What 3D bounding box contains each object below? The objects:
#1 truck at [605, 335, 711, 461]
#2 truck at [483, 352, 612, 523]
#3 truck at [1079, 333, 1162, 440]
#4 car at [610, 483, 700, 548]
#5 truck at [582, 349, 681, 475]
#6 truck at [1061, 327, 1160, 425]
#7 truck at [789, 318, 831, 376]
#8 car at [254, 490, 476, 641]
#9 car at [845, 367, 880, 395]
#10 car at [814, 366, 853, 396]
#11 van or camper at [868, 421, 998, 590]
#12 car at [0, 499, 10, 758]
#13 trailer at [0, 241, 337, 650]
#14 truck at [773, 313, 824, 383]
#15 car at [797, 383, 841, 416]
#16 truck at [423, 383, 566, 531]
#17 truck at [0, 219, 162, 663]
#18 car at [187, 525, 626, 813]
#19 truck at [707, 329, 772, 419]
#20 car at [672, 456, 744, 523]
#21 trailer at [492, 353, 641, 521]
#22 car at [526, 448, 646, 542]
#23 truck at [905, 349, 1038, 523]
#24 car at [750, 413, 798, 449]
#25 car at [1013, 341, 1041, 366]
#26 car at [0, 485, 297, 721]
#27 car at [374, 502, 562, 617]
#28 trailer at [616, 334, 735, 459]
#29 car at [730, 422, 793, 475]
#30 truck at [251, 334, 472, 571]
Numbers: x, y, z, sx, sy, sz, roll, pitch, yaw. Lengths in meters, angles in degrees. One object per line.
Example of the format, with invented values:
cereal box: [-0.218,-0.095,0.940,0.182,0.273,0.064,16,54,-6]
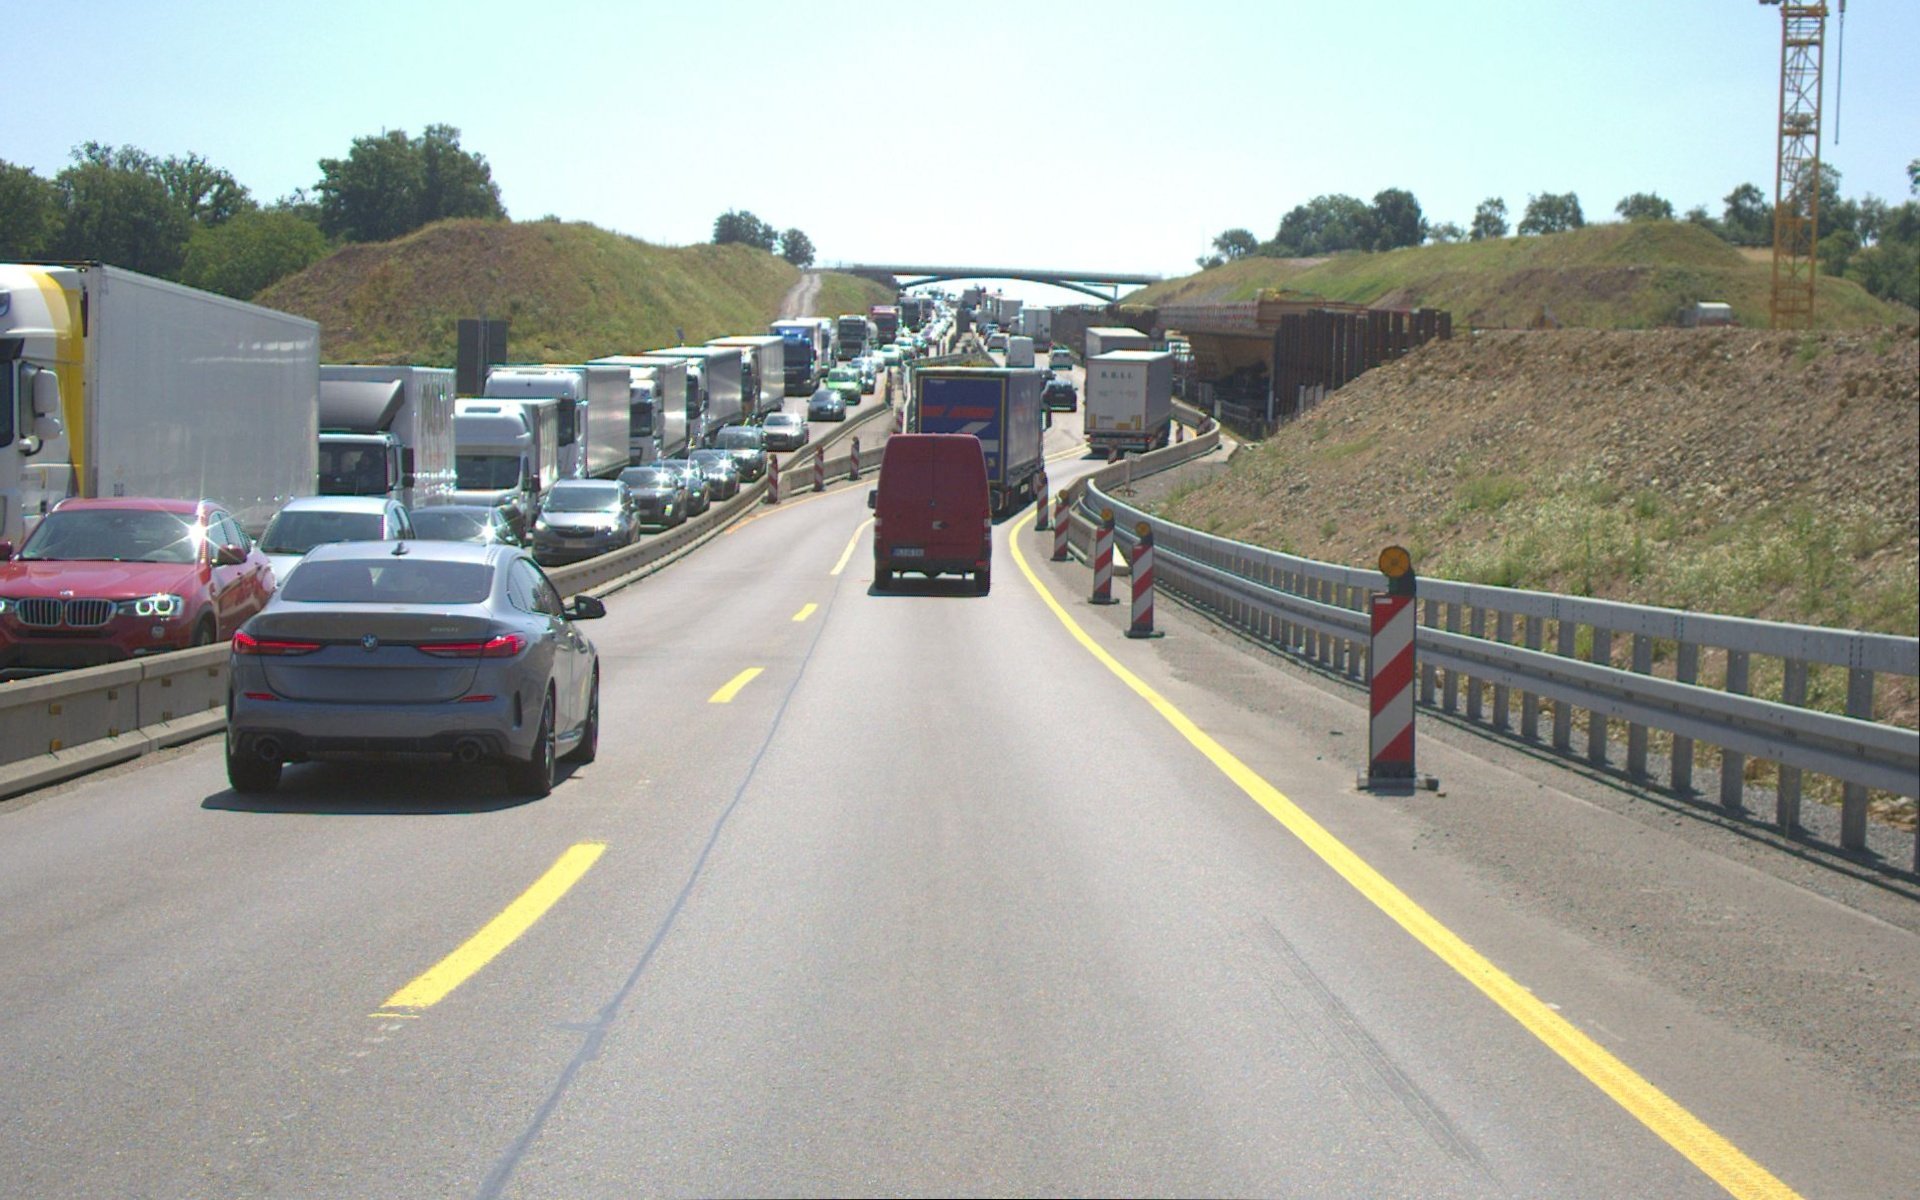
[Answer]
truck: [-11.064,-7.460,126.435,3.052,4.464,5.981,1,4,3]
truck: [-10.604,-4.211,88.929,2.551,4.216,6.531,1,3,0]
truck: [6.621,-8.711,140.978,3.039,4.086,7.084,1,1,5]
car: [-7.432,-2.058,84.123,1.827,1.530,4.547,1,1,-1]
truck: [-10.607,-6.035,111.456,2.782,3.856,5.462,1,1,-2]
truck: [8.285,-12.238,189.181,5.160,4.979,13.876,-1,2,3]
truck: [-10.607,-17.898,243.637,2.887,3.825,8.004,1,2,-2]
car: [-6.594,-0.411,38.444,1.827,1.568,4.000,1,1,-1]
car: [-5.796,-13.020,204.352,1.952,1.524,4.268,1,3,0]
car: [-6.917,-11.980,188.095,1.952,1.524,4.268,1,3,0]
van or camper: [-0.506,-1.652,58.592,2.029,2.734,4.516,1,3,-2]
car: [-6.925,0.219,19.202,1.993,1.615,4.883,1,1,-1]
trailer: [-10.401,-1.835,42.444,2.986,4.194,13.948,1,2,-1]
truck: [-9.487,-14.824,202.669,2.887,3.825,8.004,1,2,-2]
car: [-6.890,-9.784,168.282,1.952,1.524,4.268,1,3,0]
truck: [-10.285,-3.222,76.469,2.433,3.137,7.025,0,3,-2]
truck: [-10.308,-1.616,35.269,2.977,4.170,5.875,1,2,-2]
car: [-3.161,0.317,20.563,1.851,1.447,4.742,1,2,0]
truck: [-9.799,-10.027,153.450,2.683,3.825,7.388,1,2,-2]
car: [-7.652,-3.340,104.718,1.993,1.777,4.000,1,-1,-2]
trailer: [-10.627,-4.436,94.002,2.595,4.242,12.469,1,3,0]
car: [-7.302,-2.032,67.503,1.827,1.645,4.547,-4,1,-1]
truck: [0.383,-4.613,96.669,3.021,4.676,6.932,0,3,6]
car: [-7.623,-6.926,141.123,1.747,1.404,4.001,1,3,0]
car: [4.931,-18.306,255.032,1.952,1.635,4.268,1,1,0]
car: [-6.883,-0.053,28.291,1.993,1.625,4.759,2,3,-1]
car: [-6.942,-0.572,48.920,1.993,1.551,4.338,1,1,1]
trailer: [-10.816,-7.746,131.875,3.042,4.536,12.128,1,3,2]
car: [-6.768,-5.188,117.697,1.993,1.776,4.001,1,2,-2]
truck: [-10.457,-2.603,60.850,2.524,3.842,8.673,1,2,-1]
